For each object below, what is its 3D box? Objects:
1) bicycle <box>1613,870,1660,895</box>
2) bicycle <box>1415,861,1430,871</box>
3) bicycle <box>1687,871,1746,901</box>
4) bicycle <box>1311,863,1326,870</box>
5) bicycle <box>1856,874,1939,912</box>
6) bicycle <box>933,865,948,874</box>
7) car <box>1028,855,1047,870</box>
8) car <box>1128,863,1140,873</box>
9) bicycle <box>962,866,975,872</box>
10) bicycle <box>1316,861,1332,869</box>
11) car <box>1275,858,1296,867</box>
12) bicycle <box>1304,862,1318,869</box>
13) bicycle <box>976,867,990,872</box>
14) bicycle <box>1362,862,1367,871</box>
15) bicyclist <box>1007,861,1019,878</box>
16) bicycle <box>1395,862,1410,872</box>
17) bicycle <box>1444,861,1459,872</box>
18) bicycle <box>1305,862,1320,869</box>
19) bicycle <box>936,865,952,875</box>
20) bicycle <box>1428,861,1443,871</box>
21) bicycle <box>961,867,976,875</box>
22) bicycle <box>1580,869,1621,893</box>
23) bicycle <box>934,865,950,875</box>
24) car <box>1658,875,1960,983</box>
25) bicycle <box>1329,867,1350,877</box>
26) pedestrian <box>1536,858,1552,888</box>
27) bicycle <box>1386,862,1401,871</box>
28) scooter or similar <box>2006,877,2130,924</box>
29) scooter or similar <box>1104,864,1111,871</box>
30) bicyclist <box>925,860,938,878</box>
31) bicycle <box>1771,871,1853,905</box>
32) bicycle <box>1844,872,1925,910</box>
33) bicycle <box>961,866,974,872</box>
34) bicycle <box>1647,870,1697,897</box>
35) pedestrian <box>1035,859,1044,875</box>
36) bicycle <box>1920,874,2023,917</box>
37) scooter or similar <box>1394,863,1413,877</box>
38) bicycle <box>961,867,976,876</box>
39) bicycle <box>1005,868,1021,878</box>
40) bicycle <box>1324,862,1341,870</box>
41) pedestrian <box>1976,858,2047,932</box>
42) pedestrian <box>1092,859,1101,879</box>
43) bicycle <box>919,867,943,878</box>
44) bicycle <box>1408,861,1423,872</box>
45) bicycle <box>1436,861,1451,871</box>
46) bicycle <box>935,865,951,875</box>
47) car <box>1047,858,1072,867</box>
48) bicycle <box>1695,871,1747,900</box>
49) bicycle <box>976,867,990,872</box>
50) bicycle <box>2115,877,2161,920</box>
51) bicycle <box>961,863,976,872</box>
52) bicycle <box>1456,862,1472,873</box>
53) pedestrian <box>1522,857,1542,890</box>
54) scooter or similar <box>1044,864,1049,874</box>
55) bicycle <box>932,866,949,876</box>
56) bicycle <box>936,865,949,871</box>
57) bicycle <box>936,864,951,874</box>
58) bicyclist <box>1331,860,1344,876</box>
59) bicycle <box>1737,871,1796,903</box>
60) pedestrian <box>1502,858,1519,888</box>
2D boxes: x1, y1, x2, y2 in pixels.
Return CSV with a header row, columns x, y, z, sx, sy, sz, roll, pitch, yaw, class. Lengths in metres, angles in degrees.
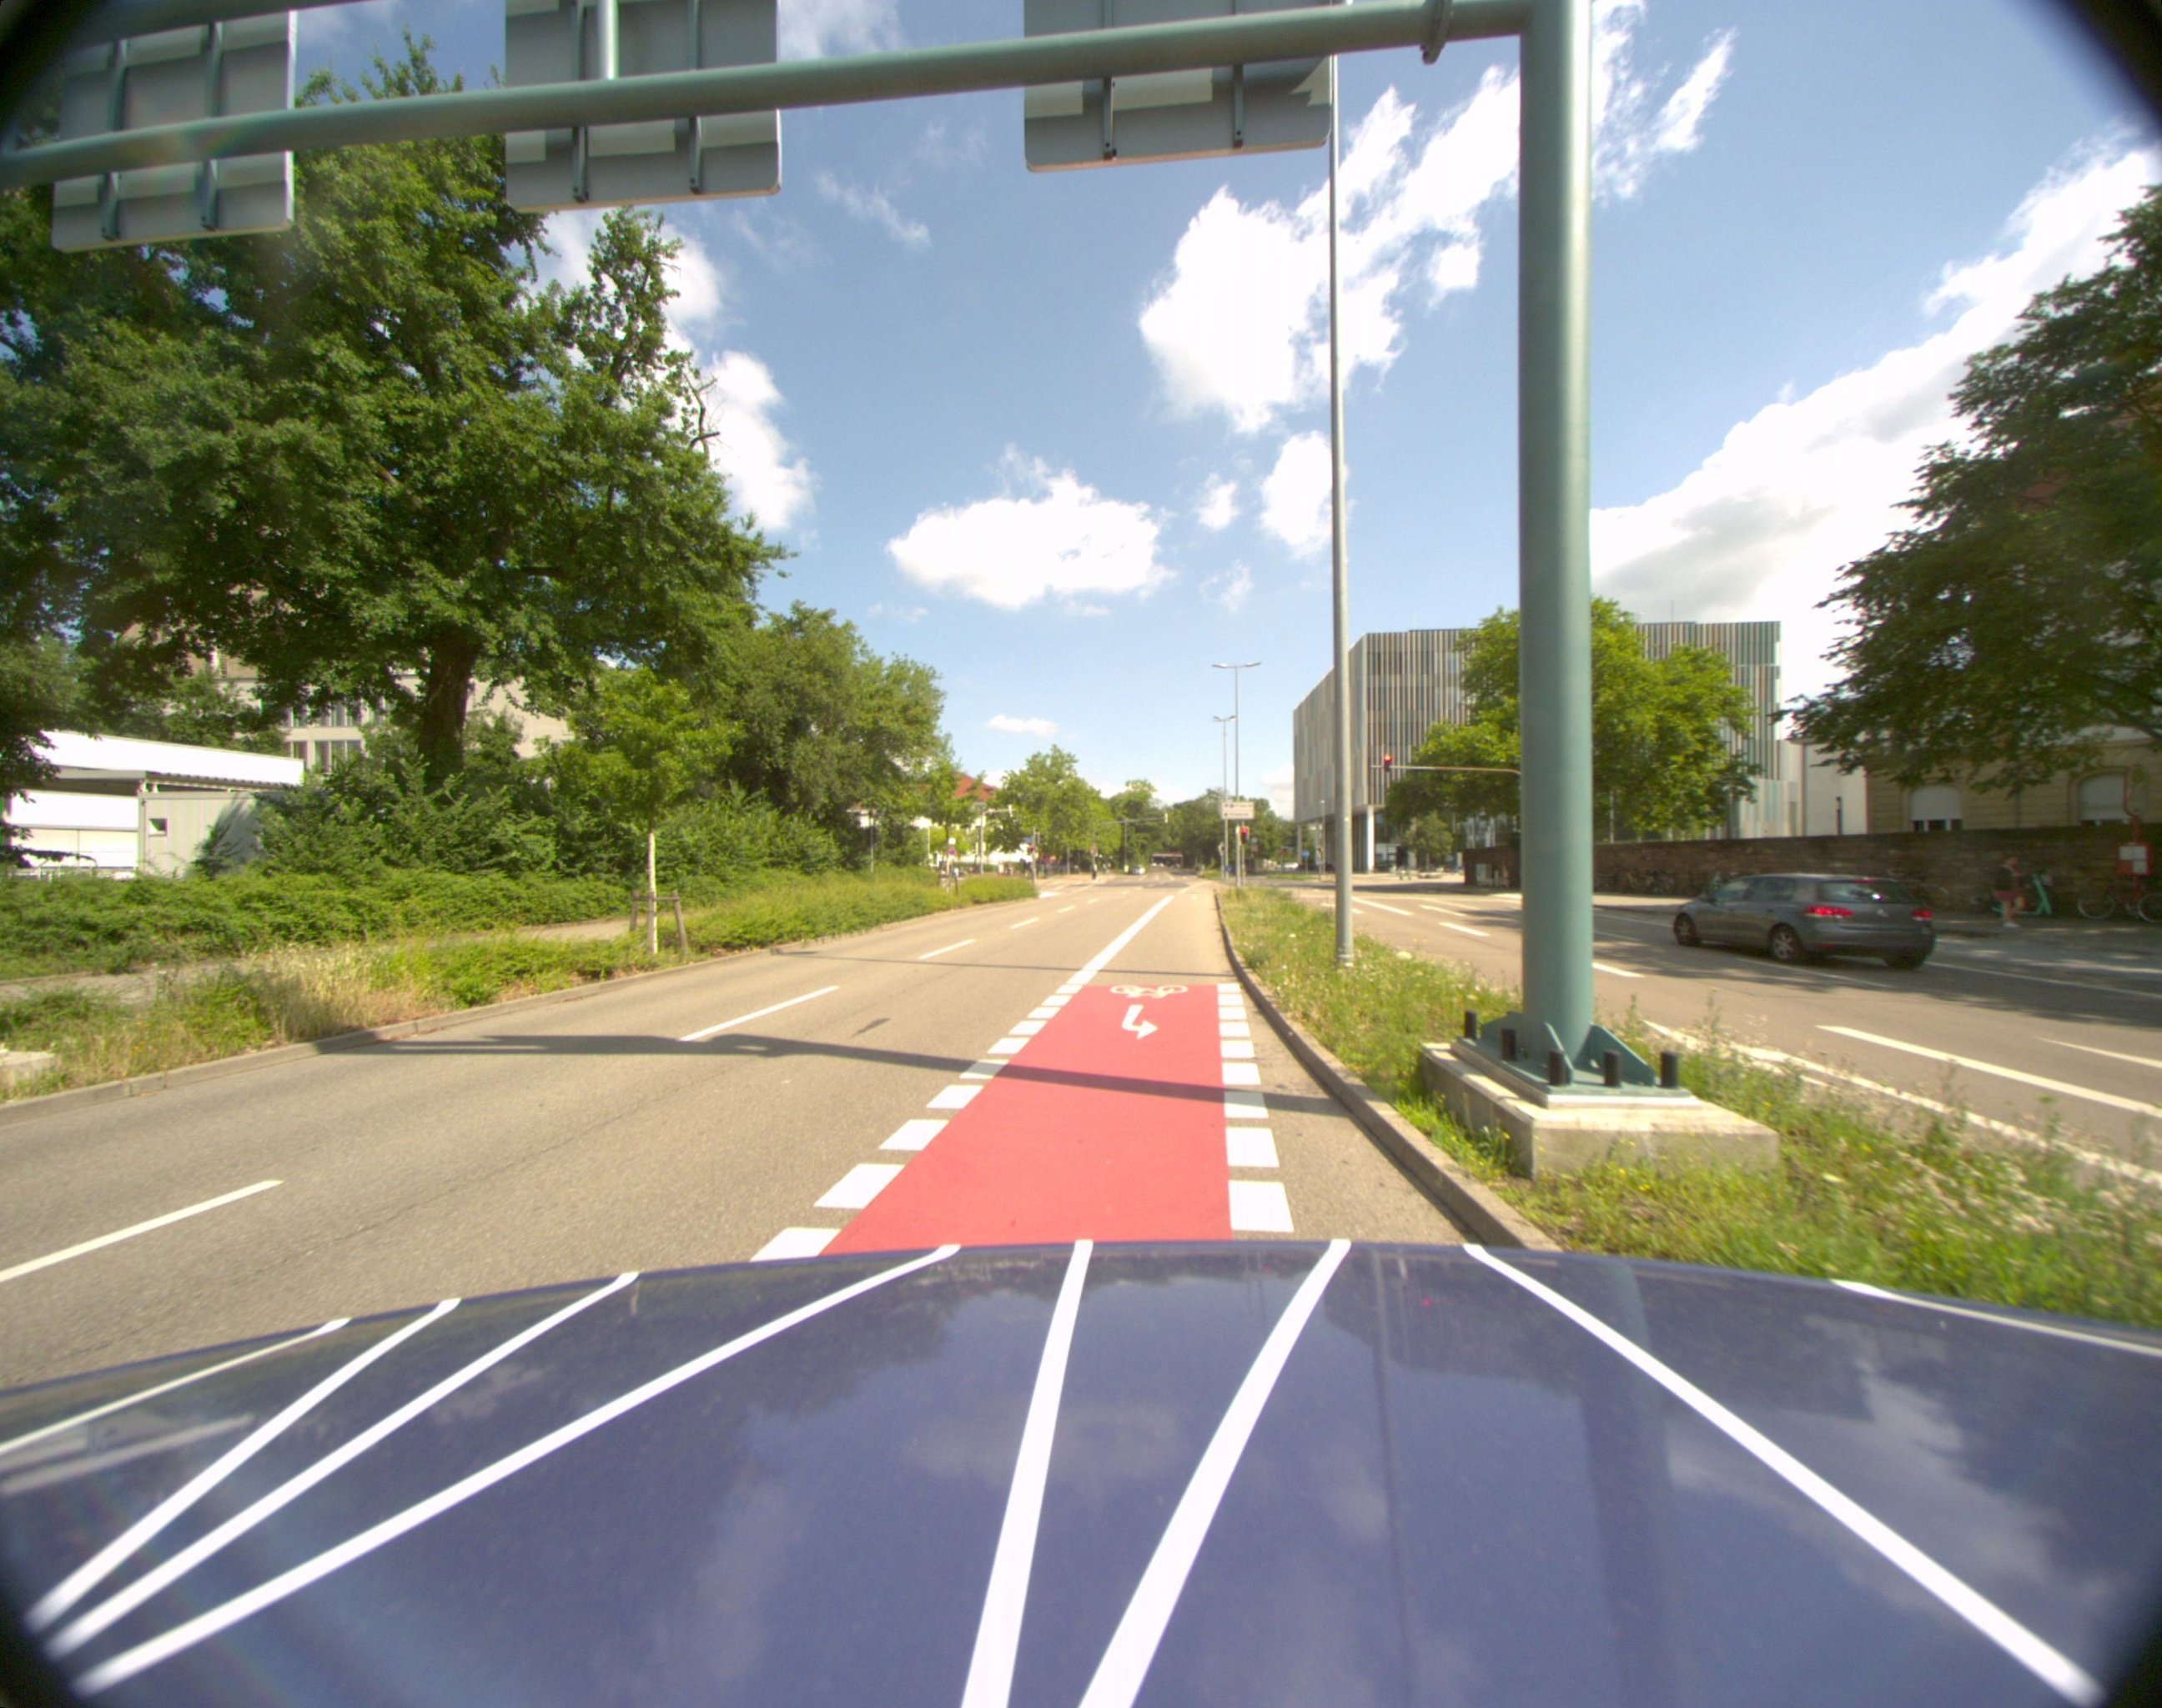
x,y,z,sx,sy,sz,roll,pitch,yaw,class
23.922,1.220,32.760,0.631,1.042,1.881,0,0,0,bicycle
37.449,1.343,83.201,2.223,1.090,0.720,0,0,-44,bicycle
23.343,1.151,27.945,0.593,1.042,1.881,0,0,0,bicycle
37.646,1.925,120.531,2.216,1.090,0.723,0,0,1,bicycle
23.990,1.124,22.367,0.395,1.042,1.881,0,0,0,bicycle
-16.857,1.897,91.459,1.671,1.090,0.627,0,0,1,bicycle
-5.696,1.103,100.333,1.998,2.001,4.904,0,0,3,car
7.856,2.070,112.735,1.707,1.321,4.001,2,0,4,car
-14.938,2.037,100.979,1.672,0.785,0.627,0,0,0,bicycle
36.724,1.682,114.986,2.216,1.090,0.723,0,0,1,bicycle
41.552,1.765,154.673,3.994,1.676,1.647,0,0,8,car
37.550,1.923,124.033,2.216,1.083,0.723,0,0,1,bicycle
-13.042,2.038,101.117,1.671,0.729,0.627,0,0,1,bicycle
33.140,1.489,88.825,0.547,1.090,1.636,0,0,18,bicycle
-5.881,1.322,65.699,0.614,1.498,0.916,-1,0,-41,bicyclist
36.061,1.405,85.299,2.223,1.090,0.720,0,0,-44,bicycle
39.072,1.302,80.197,2.223,1.090,0.720,0,0,-44,bicycle
37.543,1.926,123.147,2.216,1.090,0.723,0,0,1,bicycle
-15.597,1.801,86.689,1.671,1.090,0.627,0,0,1,bicycle
38.244,1.286,81.916,2.223,1.090,0.720,0,0,-44,bicycle
-13.386,2.007,90.058,1.671,1.029,0.627,0,0,1,bicycle
23.972,1.239,35.105,0.631,1.042,1.881,0,0,0,bicycle
-15.639,1.826,85.259,1.671,1.090,0.627,0,0,1,bicycle
12.236,1.155,13.226,1.703,1.436,4.149,1,0,9,car
23.567,1.664,69.289,1.770,0.887,0.639,-1,0,41,bicycle
23.841,0.983,39.155,0.477,1.531,0.616,0,0,4,pedestrian
35.291,1.411,85.758,2.223,1.090,0.720,0,0,-44,bicycle
23.947,1.096,18.496,0.581,1.042,1.881,0,0,0,scooter or similar
3.890,1.916,110.199,0.517,1.065,1.372,0,0,22,scooter or similar
-11.453,1.136,58.219,0.931,1.341,0.445,-1,0,-4,bicyclist
23.657,1.086,24.640,0.594,1.042,1.878,0,0,-16,bicycle
23.571,1.068,22.342,0.373,1.042,1.881,0,0,0,bicycle
-14.942,2.033,100.250,1.672,0.785,0.627,0,0,0,bicycle
23.889,1.173,30.770,0.565,1.042,1.881,0,0,0,bicycle
-4.283,1.389,78.758,0.741,1.640,0.640,0,0,11,pedestrian
23.906,1.089,20.450,0.581,1.042,1.881,0,0,0,bicycle
26.231,1.291,61.765,1.504,1.150,0.503,0,0,-18,scooter or similar
-13.400,2.080,90.830,1.671,0.979,0.627,0,0,1,bicycle
-5.918,1.649,65.753,0.621,0.828,1.511,0,0,-41,bicycle
36.016,1.707,108.855,2.216,1.090,0.723,0,0,1,bicycle
20.816,0.898,17.008,0.658,1.600,0.745,-1,0,1,pedestrian
1.475,1.413,71.946,0.701,1.815,0.942,2,1,7,pedestrian
-11.495,1.425,58.218,1.755,0.771,0.445,-1,0,-4,bicycle
36.914,1.370,83.758,2.223,1.090,0.720,0,0,-44,bicycle
38.621,1.266,80.991,2.223,1.090,0.720,0,0,-44,bicycle
-15.605,1.835,85.993,1.671,1.090,0.627,0,0,1,bicycle
-3.481,1.373,122.567,3.998,1.416,1.757,0,0,-2,car
24.024,1.167,28.558,0.371,1.042,1.881,0,0,0,bicycle
-12.933,2.042,100.105,1.671,0.729,0.627,0,0,1,bicycle
24.035,0.990,16.796,0.367,0.949,1.401,-1,0,-6,bicycle
-13.188,1.561,89.015,1.671,1.090,0.627,0,0,1,bicycle
39.866,1.410,79.031,2.323,1.131,0.745,0,0,-44,bicycle
23.196,1.001,39.085,0.642,1.641,0.731,0,0,4,pedestrian
-3.794,1.644,82.903,0.347,1.122,1.168,0,0,8,scooter or similar
-15.611,1.855,84.488,1.671,1.090,0.627,0,0,1,bicycle
-18.939,1.910,103.755,1.671,0.785,0.627,0,0,1,bicycle
-15.970,1.736,88.411,1.671,1.090,0.627,0,0,1,bicycle
23.434,1.271,69.396,0.944,1.456,0.633,0,0,40,bicyclist
23.945,1.142,26.571,0.371,1.042,1.881,0,0,0,bicycle
23.887,1.060,42.267,0.561,1.641,0.727,0,0,4,pedestrian
